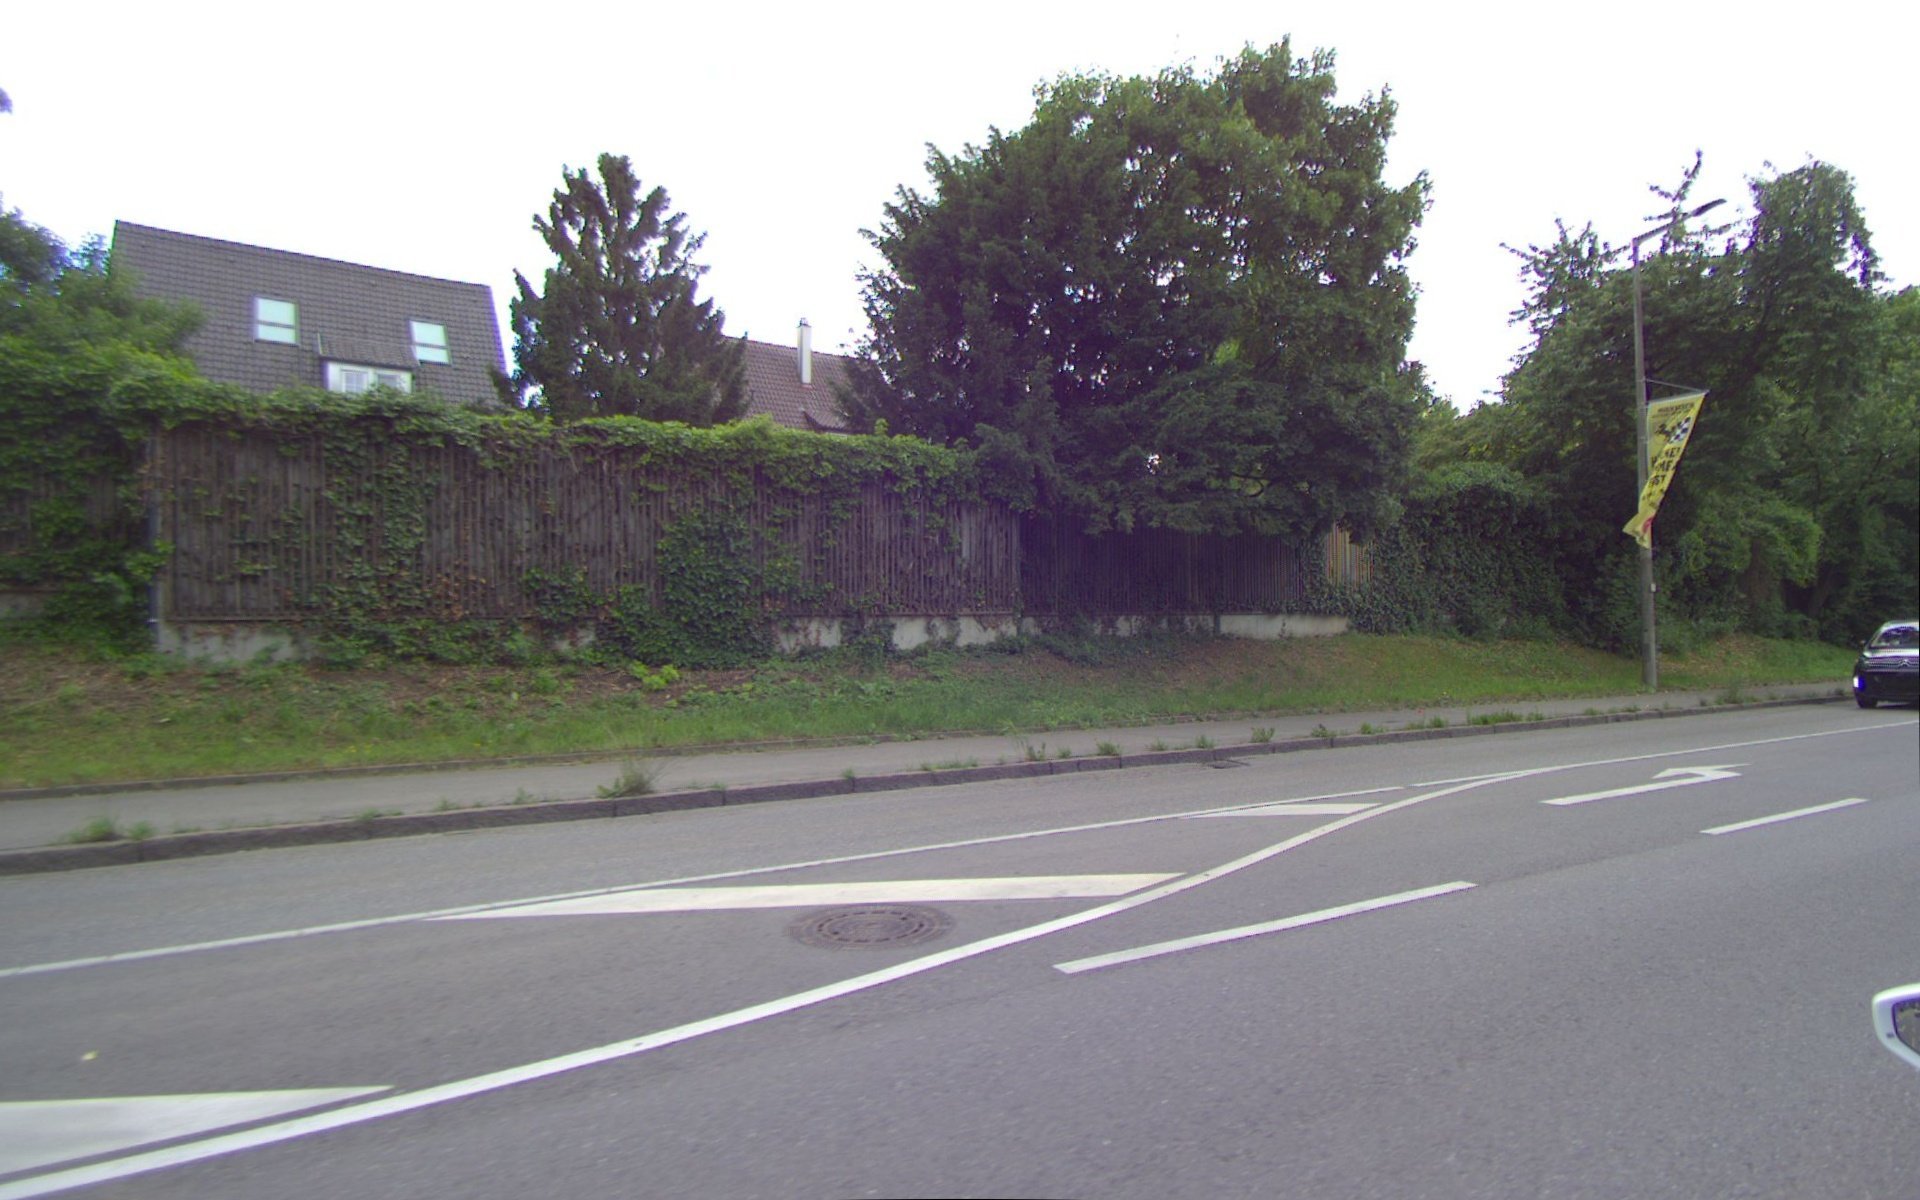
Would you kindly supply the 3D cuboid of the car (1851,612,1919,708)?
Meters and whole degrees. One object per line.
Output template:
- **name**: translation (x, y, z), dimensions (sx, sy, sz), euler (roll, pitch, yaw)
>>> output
- **car**: translation (21.238, 1.269, 21.651), dimensions (4.638, 1.929, 1.794), euler (1, -3, -33)
